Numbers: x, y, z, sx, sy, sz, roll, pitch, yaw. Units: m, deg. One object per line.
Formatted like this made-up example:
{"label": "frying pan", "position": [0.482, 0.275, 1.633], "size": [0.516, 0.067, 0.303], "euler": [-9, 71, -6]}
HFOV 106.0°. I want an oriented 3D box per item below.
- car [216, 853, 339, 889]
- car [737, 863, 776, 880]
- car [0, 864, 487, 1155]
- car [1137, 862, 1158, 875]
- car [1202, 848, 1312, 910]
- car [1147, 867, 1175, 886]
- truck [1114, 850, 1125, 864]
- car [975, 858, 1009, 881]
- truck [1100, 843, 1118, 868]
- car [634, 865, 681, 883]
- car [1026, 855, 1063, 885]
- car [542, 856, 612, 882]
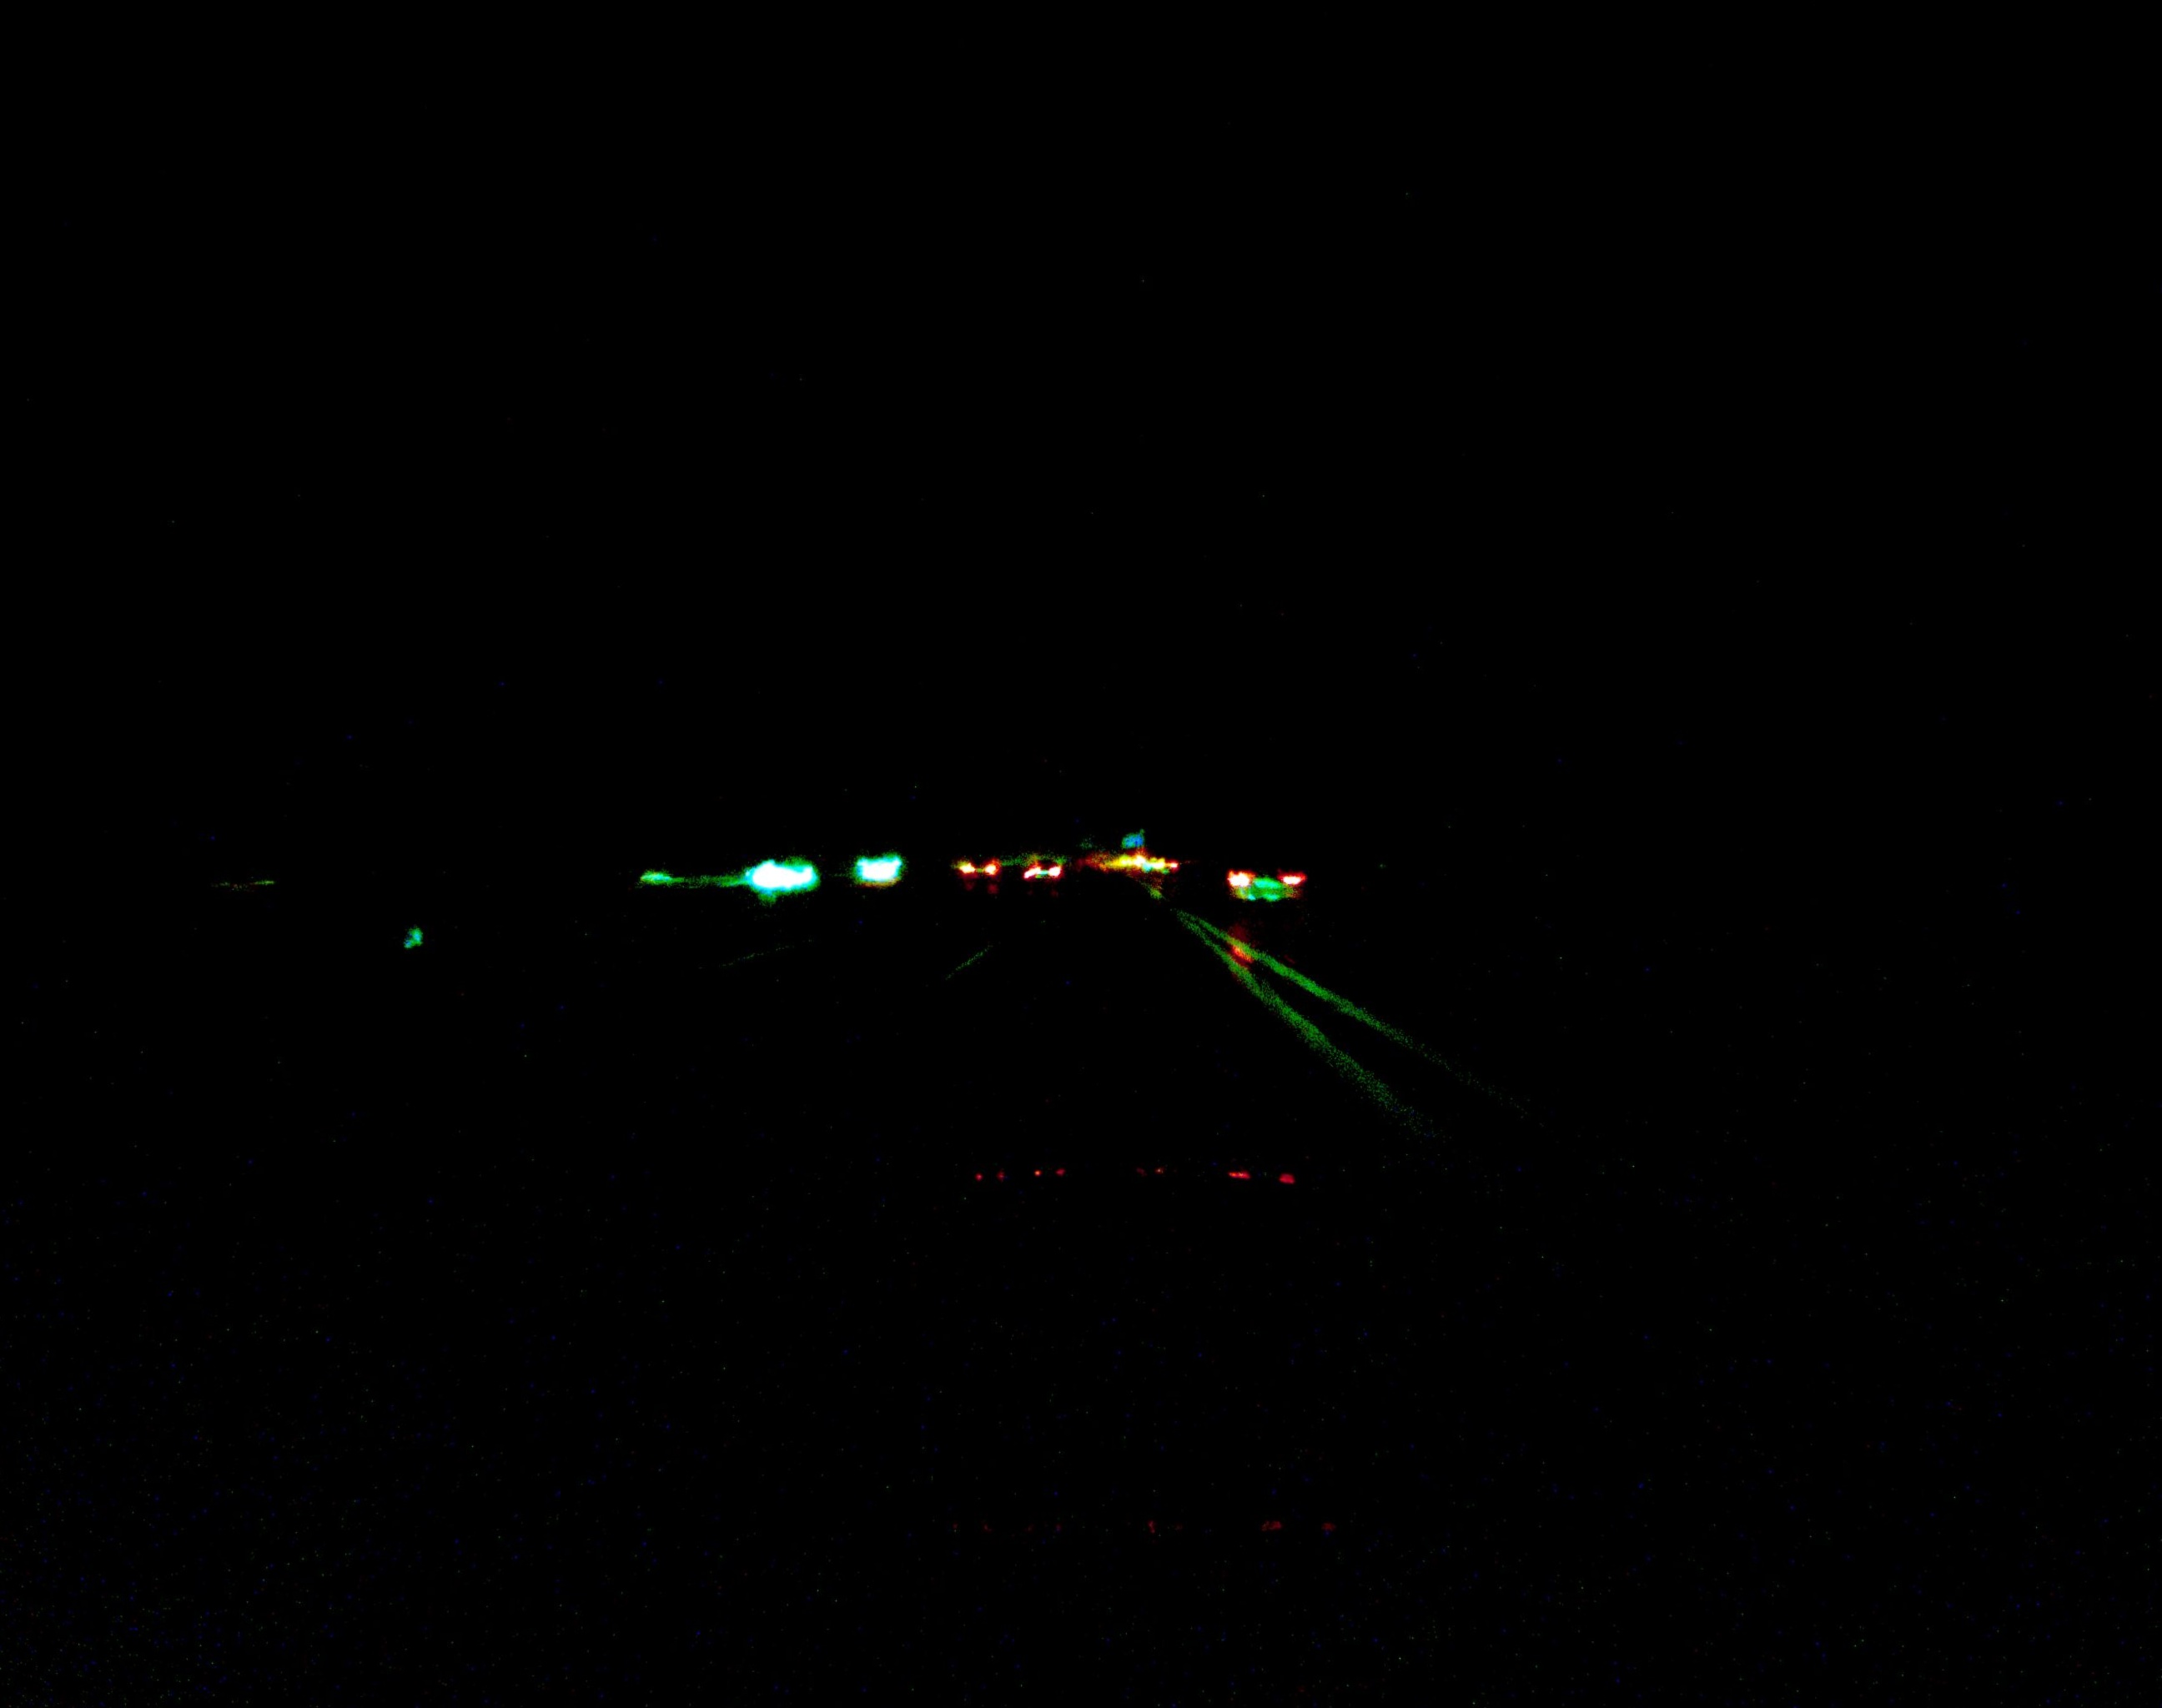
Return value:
{"label": "car", "position": [-46.244, 0.954, 47.023], "size": [1.980, 1.933, 4.701], "euler": [-1, 0, 12]}
{"label": "car", "position": [-35.945, 1.953, 90.258], "size": [1.983, 1.771, 4.579], "euler": [-1, 0, 7]}
{"label": "car", "position": [-6.715, 0.878, 5.433], "size": [1.851, 1.541, 4.753], "euler": [-1, 0, 2]}
{"label": "car", "position": [6.339, 1.405, 77.882], "size": [1.576, 1.246, 3.066], "euler": [-1, -1, -2]}
{"label": "car", "position": [4.680, 0.609, 22.418], "size": [2.050, 1.519, 5.016], "euler": [0, 0, 1]}
{"label": "car", "position": [5.566, 1.578, 57.058], "size": [1.576, 1.246, 3.066], "euler": [-1, -1, -2]}
{"label": "truck", "position": [8.671, 0.704, 183.593], "size": [1.985, 3.043, 6.470], "euler": [-4, -2, 4]}
{"label": "car", "position": [-5.594, 1.001, 51.555], "size": [1.657, 1.236, 3.761], "euler": [-4, -2, 0]}
{"label": "truck", "position": [3.802, 0.255, 108.066], "size": [1.985, 3.043, 6.470], "euler": [-4, -2, 4]}
{"label": "car", "position": [-42.040, 1.972, 80.976], "size": [1.982, 1.676, 4.184], "euler": [-1, 0, 8]}
{"label": "car", "position": [-1.891, 0.822, 43.569], "size": [1.796, 1.487, 3.999], "euler": [0, 0, 0]}
{"label": "car", "position": [-39.961, 1.123, 64.697], "size": [1.980, 1.933, 4.701], "euler": [-1, 0, 12]}
